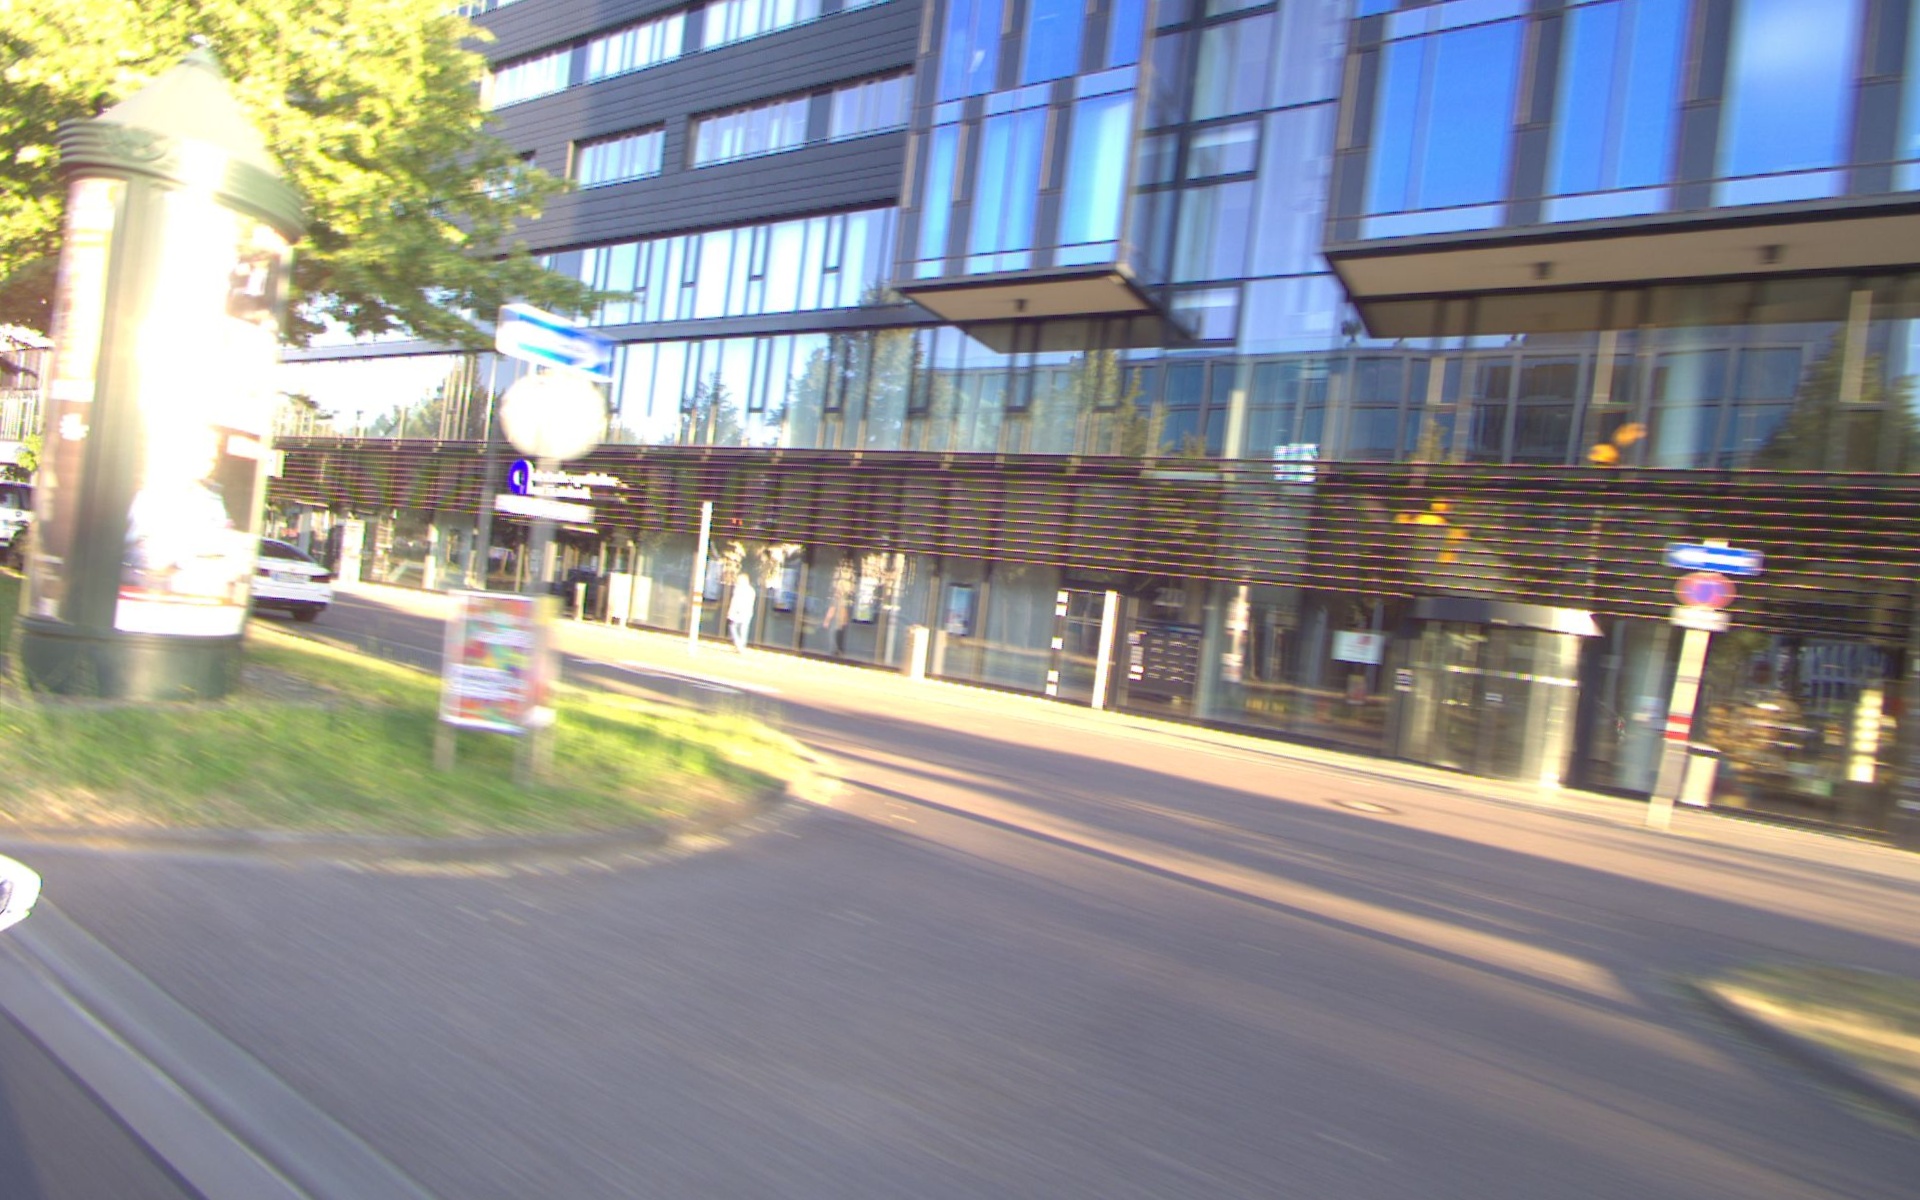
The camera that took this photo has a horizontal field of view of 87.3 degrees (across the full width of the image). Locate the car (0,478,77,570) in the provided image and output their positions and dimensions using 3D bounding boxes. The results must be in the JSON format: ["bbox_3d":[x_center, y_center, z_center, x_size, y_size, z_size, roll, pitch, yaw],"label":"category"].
[{"bbox_3d":[-24.539,-2.060,25.315,4.850,2.012,1.990,6,-2,32],"label":"car"}]

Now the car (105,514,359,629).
[{"bbox_3d":[-13.625,-0.564,18.749,4.956,1.514,1.921,6,-2,31],"label":"car"}]

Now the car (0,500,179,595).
[{"bbox_3d":[-18.988,-1.157,21.792,4.220,1.514,1.862,7,-2,33],"label":"car"}]

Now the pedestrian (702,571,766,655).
[{"bbox_3d":[-5.258,0.305,23.434,0.897,1.819,0.898,7,0,31],"label":"pedestrian"}]
